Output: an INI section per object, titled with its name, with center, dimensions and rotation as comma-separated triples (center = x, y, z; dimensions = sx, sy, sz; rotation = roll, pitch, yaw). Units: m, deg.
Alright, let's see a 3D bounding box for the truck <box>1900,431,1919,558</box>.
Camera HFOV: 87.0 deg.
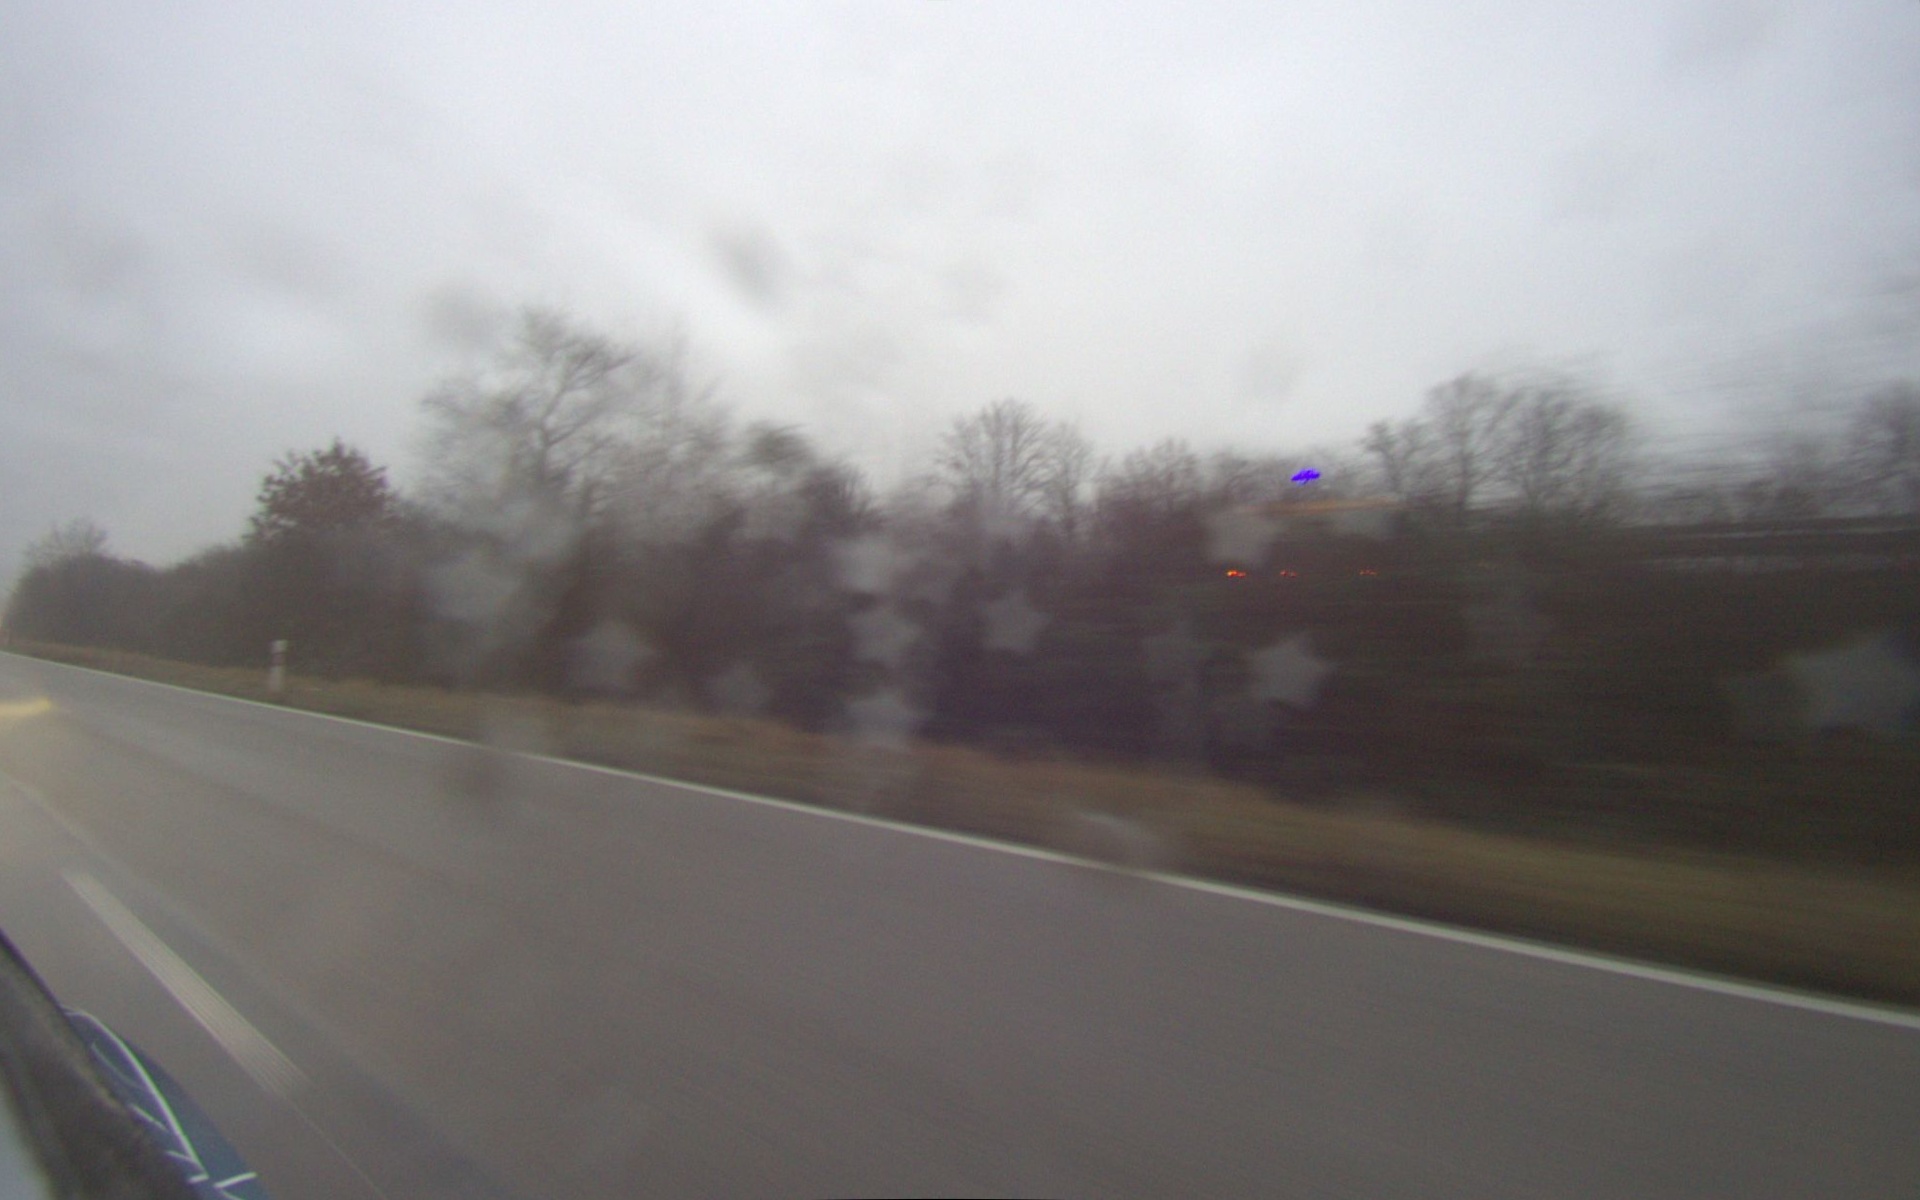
[truck]
center = 21.955, -2.186, 19.370
dimensions = 5.653, 2.512, 1.973
rotation = -1, 0, 40
